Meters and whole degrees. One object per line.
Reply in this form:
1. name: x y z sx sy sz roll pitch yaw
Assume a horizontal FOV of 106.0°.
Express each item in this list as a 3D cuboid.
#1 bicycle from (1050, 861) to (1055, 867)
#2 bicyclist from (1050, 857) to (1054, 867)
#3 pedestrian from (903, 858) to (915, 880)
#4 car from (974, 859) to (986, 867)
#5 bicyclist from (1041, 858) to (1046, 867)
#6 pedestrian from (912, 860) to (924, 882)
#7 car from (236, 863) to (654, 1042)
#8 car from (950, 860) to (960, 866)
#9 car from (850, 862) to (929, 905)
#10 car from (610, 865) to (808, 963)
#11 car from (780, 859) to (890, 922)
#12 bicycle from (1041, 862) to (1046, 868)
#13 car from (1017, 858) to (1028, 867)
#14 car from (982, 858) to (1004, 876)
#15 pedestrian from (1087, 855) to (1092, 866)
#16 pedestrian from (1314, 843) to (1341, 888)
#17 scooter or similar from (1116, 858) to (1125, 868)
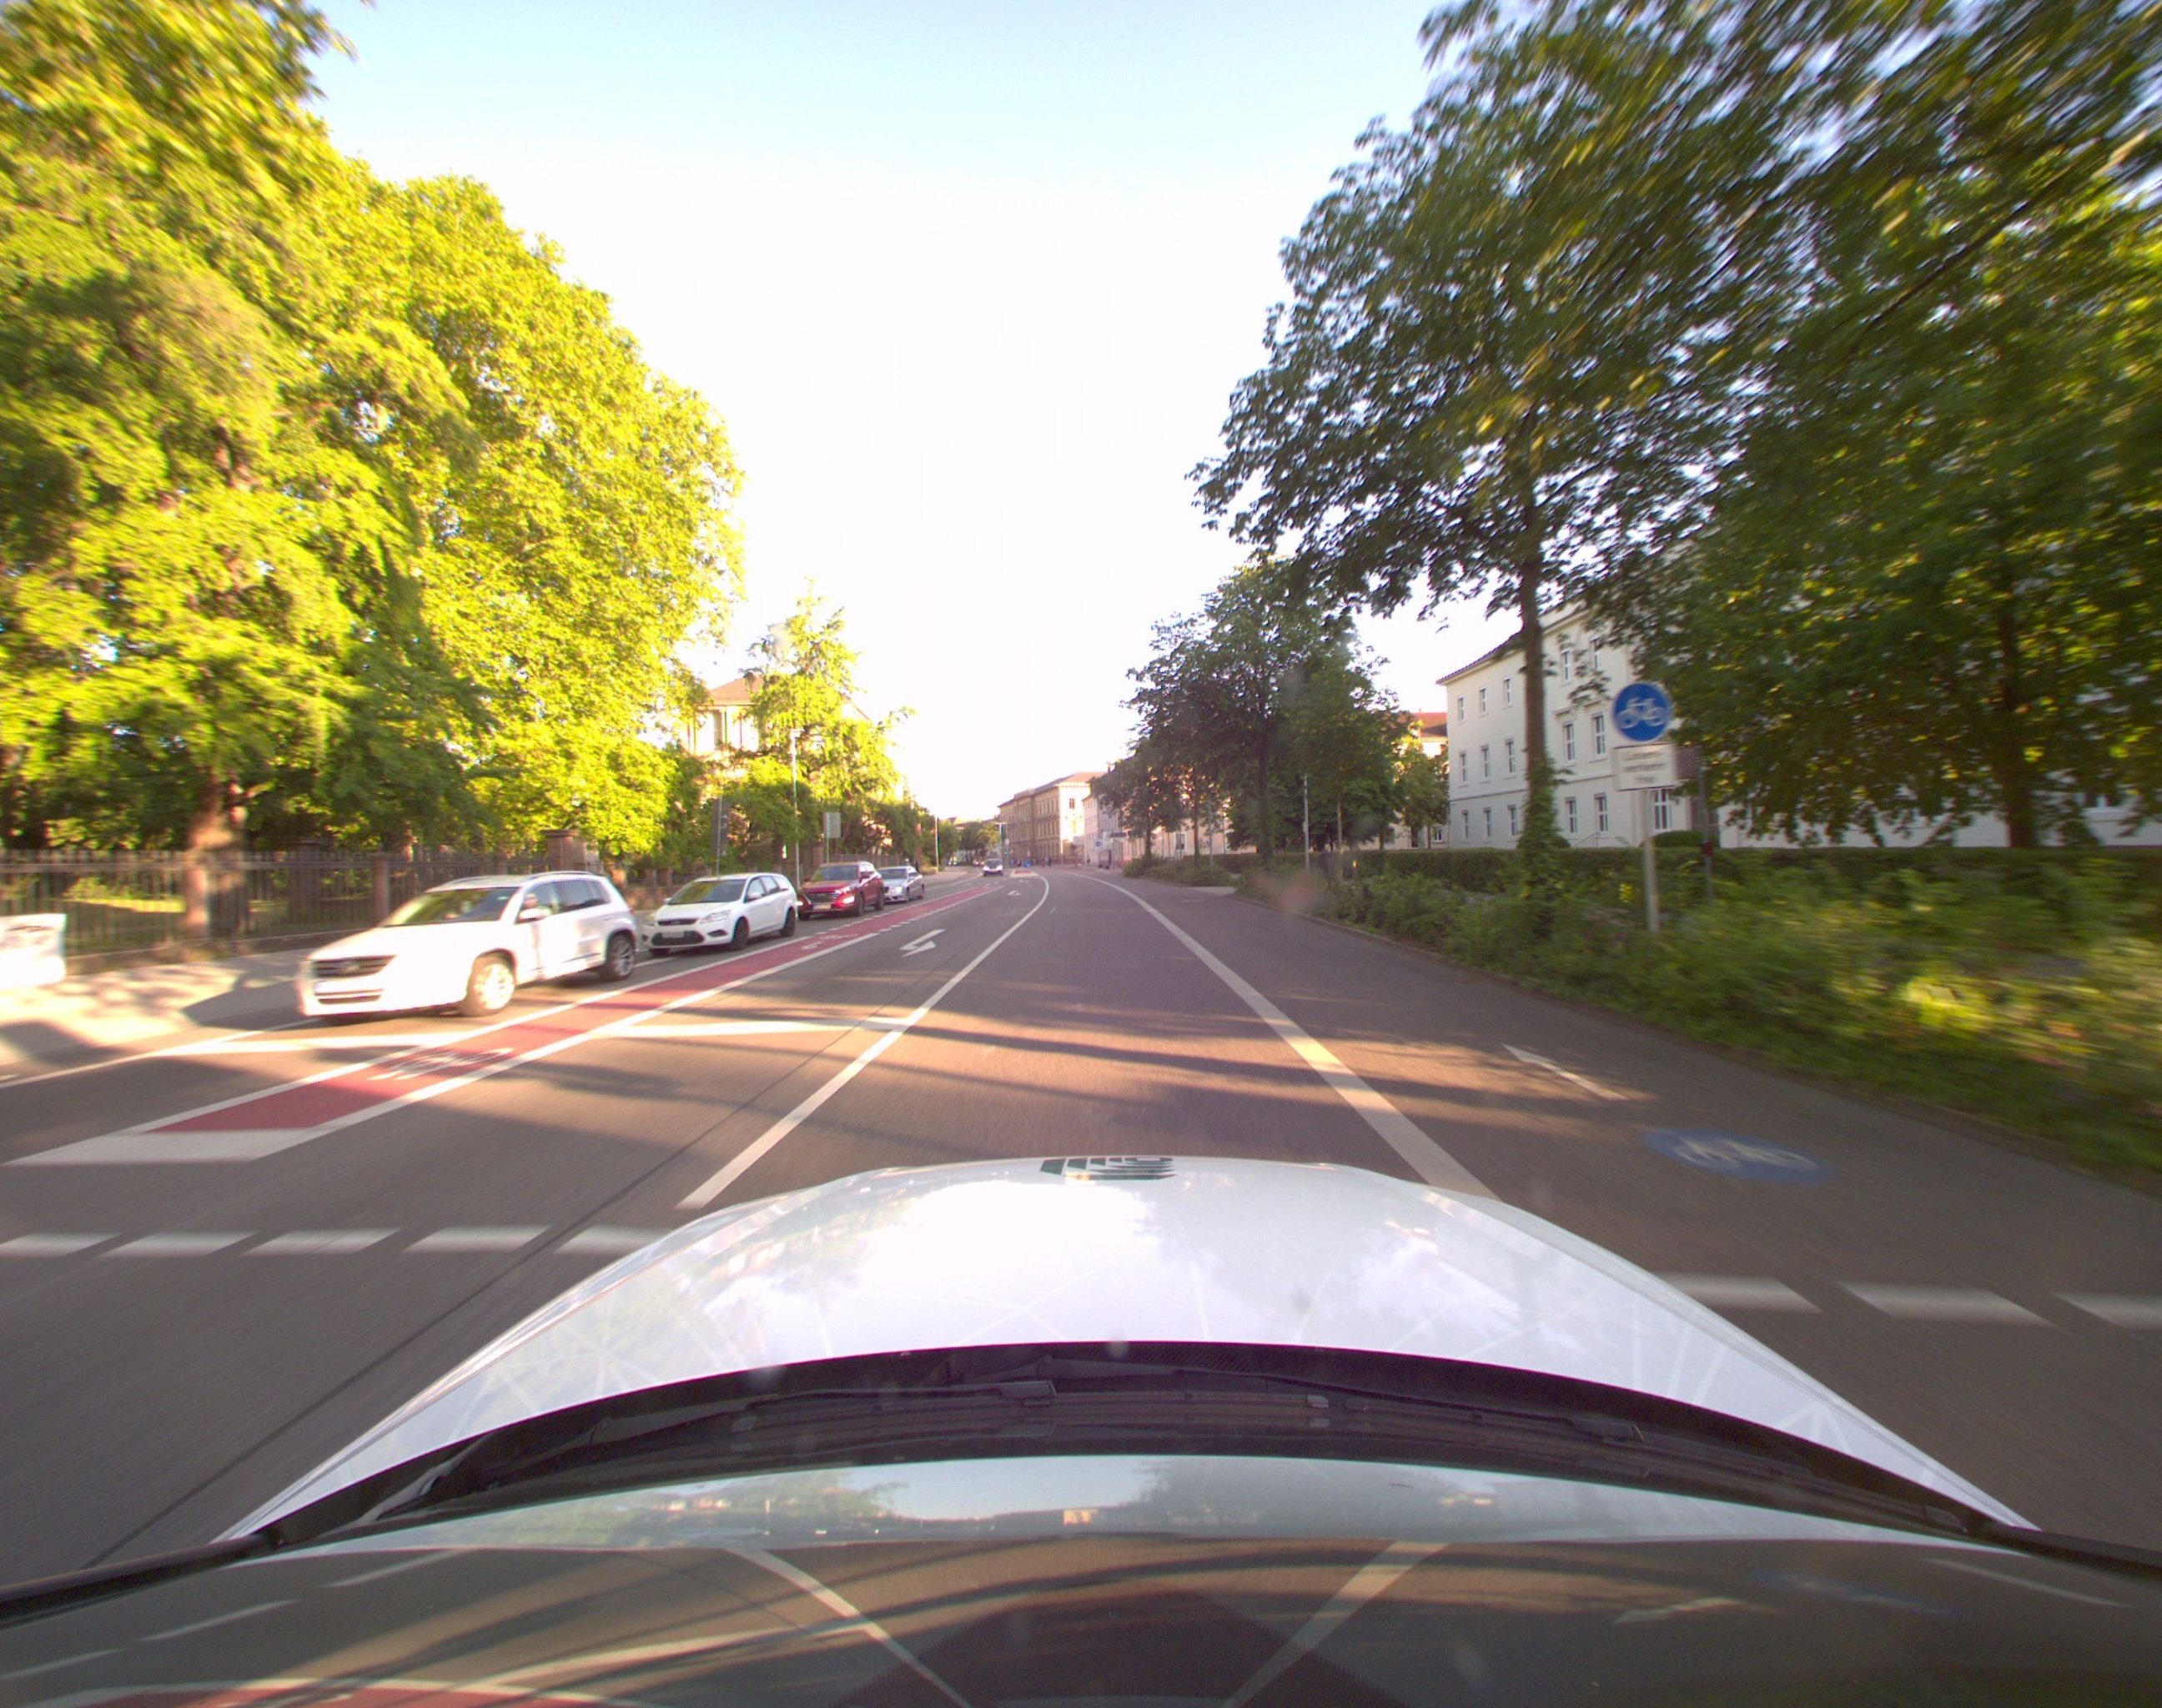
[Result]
1. bicycle: -4.622 1.573 130.534 0.651 1.015 2.194 1 0 -4
2. bicyclist: -4.617 1.262 130.541 0.651 1.475 0.939 1 -1 -5
3. pedestrian: -13.116 1.156 61.994 0.678 1.622 0.689 -2 0 3
4. car: -21.372 1.899 172.345 1.998 1.585 3.977 -1 0 -17
5. bicyclist: -5.996 1.339 130.316 0.651 1.446 0.878 1 -1 -5
6. pedestrian: -12.378 1.292 61.837 0.677 1.622 0.689 -2 0 6
7. car: -7.756 1.047 10.661 1.910 1.695 4.425 -4 0 0
8. car: -34.983 2.497 225.518 1.986 1.585 4.001 -1 0 1
9. car: -7.462 1.108 32.191 1.910 1.418 4.769 -4 0 0
10. car: -7.485 1.114 17.022 1.910 1.583 4.673 -4 0 0
11. car: -7.449 1.040 25.191 1.910 1.624 4.638 -4 0 0
12. bicycle: -6.007 1.735 130.344 0.651 1.015 2.194 1 0 -5
13. car: -10.523 1.520 145.971 1.865 1.510 3.993 -1 -1 -5
14. car: -8.253 1.179 76.182 1.848 1.526 3.988 -3 0 -9
15. pedestrian: 1.309 1.037 132.704 0.759 1.755 0.845 -1 -1 1
16. pedestrian: 9.874 0.452 32.653 0.769 1.739 0.806 -2 0 -6
17. scooter or similar: 5.070 1.158 105.142 0.629 1.337 2.392 -1 0 -10
